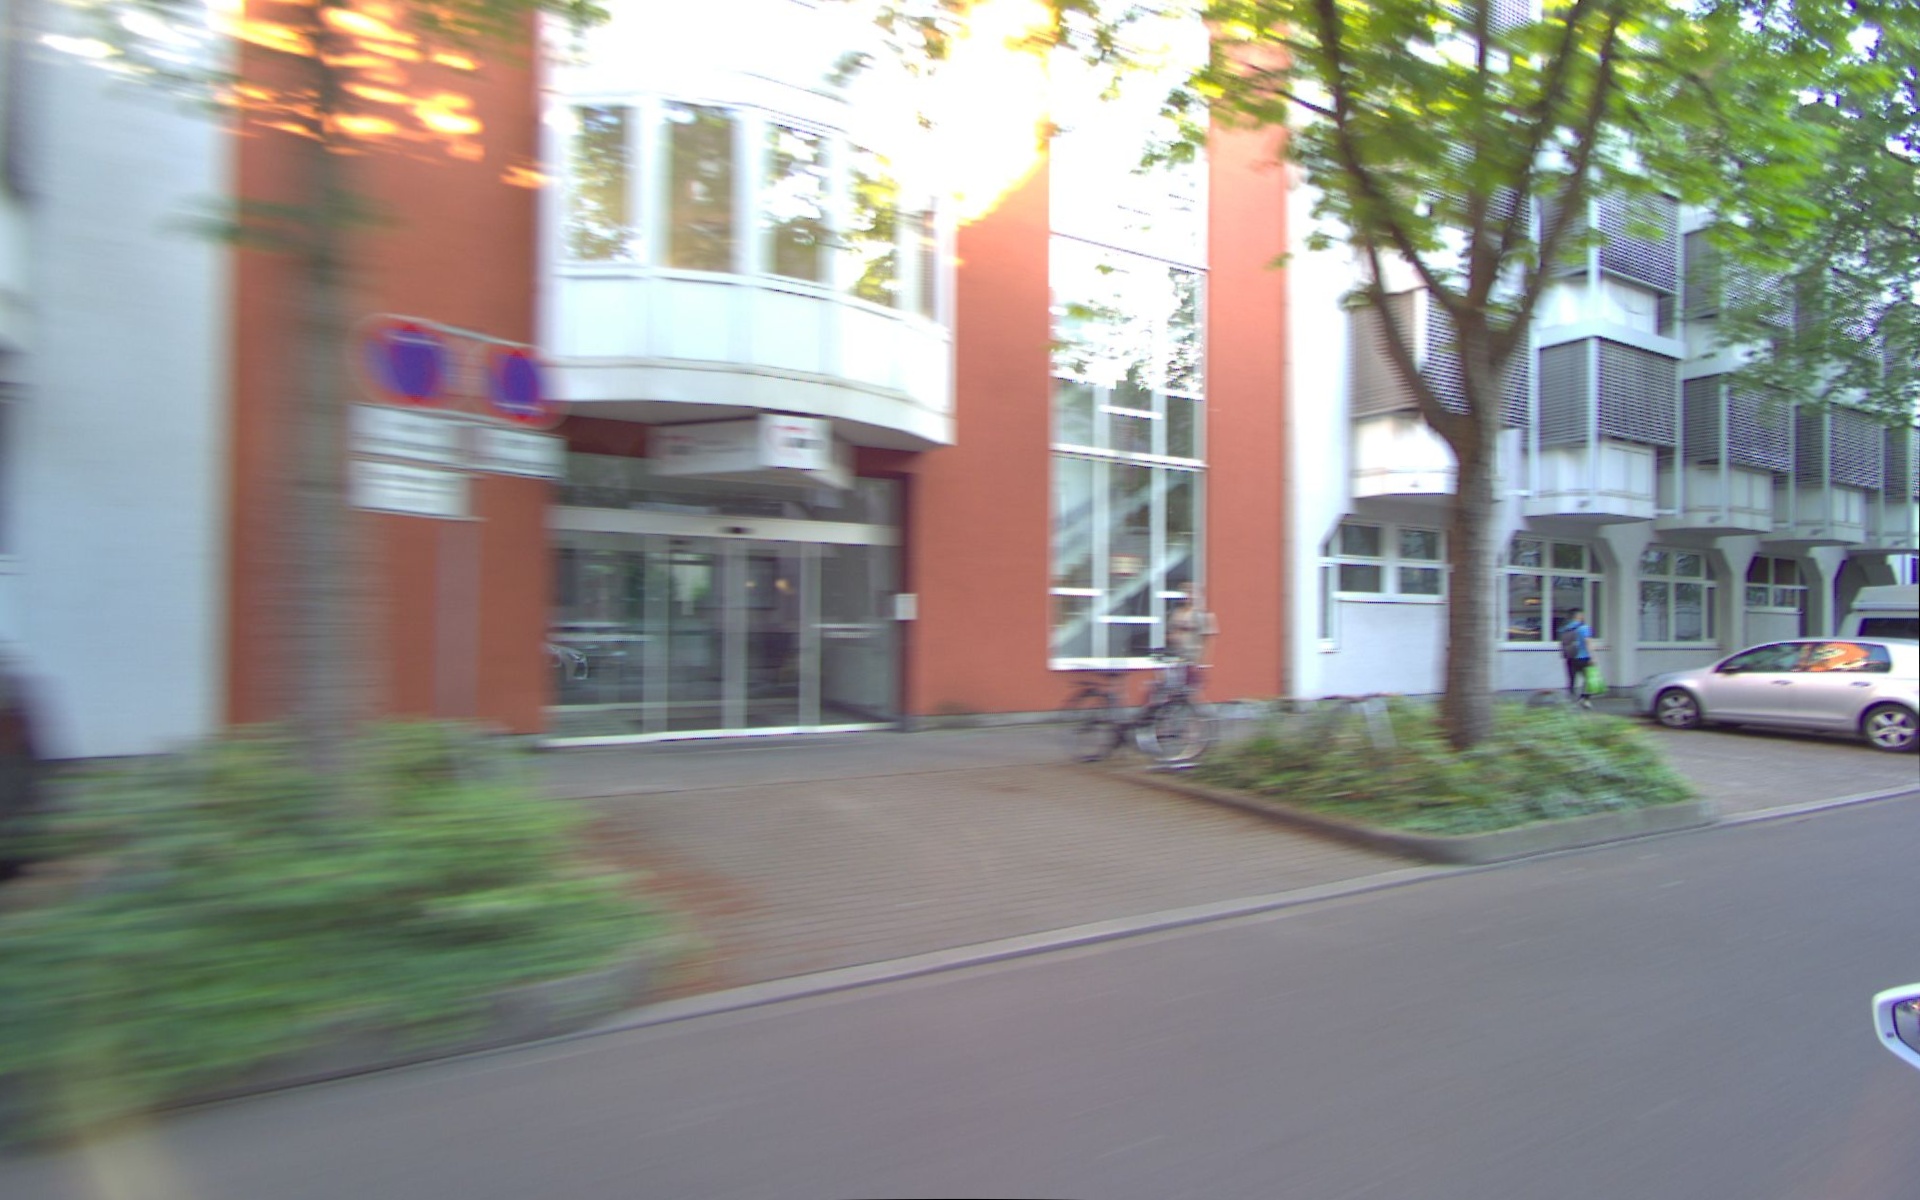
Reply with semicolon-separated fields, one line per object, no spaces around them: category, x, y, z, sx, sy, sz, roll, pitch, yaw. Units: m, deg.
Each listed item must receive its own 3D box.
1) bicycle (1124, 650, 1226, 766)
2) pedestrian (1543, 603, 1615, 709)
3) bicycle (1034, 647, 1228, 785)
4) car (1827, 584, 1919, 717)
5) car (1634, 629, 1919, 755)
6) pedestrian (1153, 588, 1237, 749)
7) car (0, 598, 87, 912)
bicycle;2.242;1.099;10.690;0.491;1.043;1.798;1;0;-7
pedestrian;10.619;0.943;17.230;0.894;1.751;0.700;1;0;-30
bicycle;1.588;1.048;9.508;1.771;1.122;0.498;1;0;37
car;19.504;0.974;18.732;1.976;2.510;4.661;1;-1;-29
car;12.358;1.240;14.651;1.735;1.506;3.855;1;0;-28
pedestrian;2.686;0.769;11.521;0.726;1.780;0.705;1;0;-6
car;-5.208;0.745;3.939;1.907;1.506;4.107;1;0;-30
